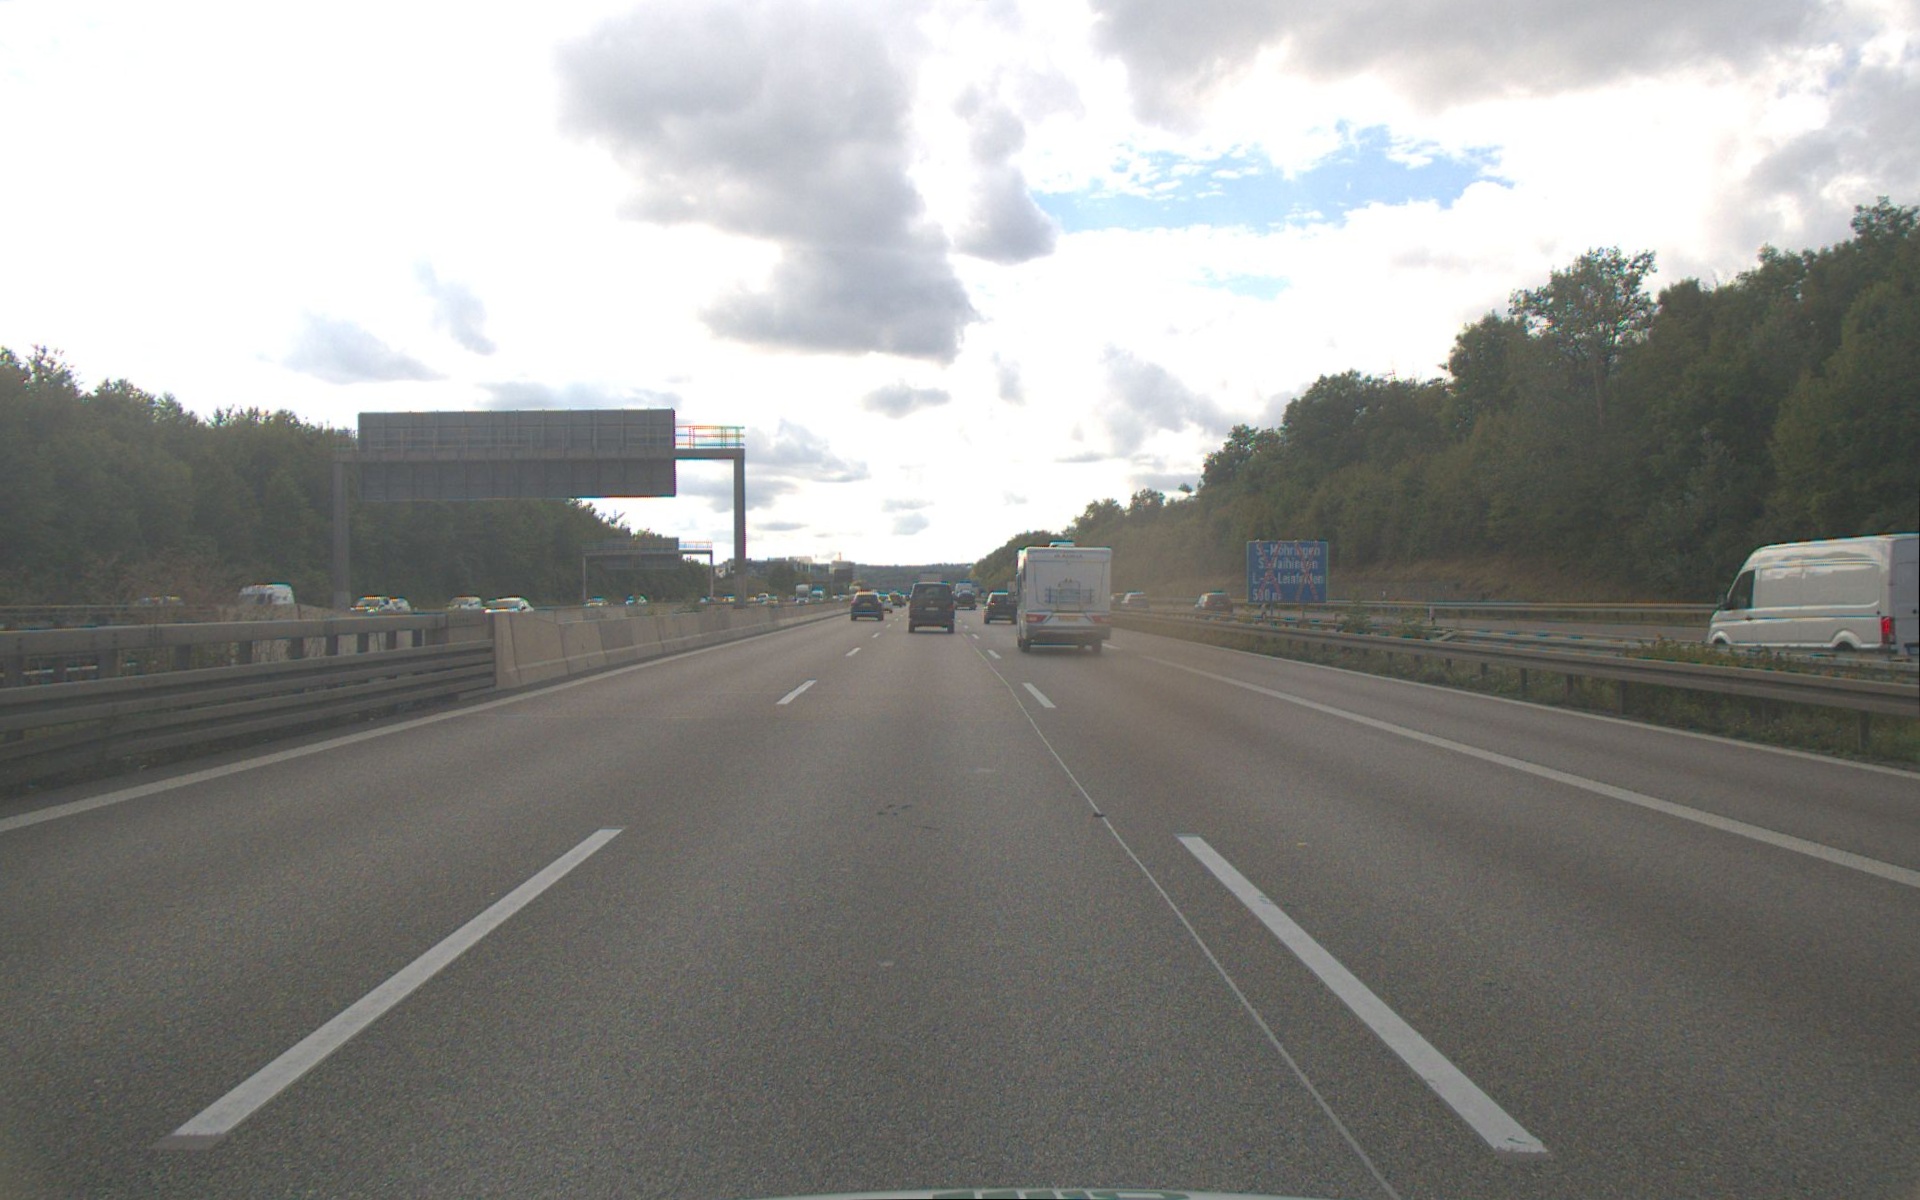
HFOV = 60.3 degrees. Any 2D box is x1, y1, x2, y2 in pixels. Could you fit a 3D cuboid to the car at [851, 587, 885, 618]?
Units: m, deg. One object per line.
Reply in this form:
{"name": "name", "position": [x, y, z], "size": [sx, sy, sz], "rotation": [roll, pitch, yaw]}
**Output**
{"name": "car", "position": [-5.238, 0.133, 94.536], "size": [1.835, 1.728, 4.071], "rotation": [0, 0, -2]}

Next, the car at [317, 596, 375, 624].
{"name": "car", "position": [-35.155, 0.553, 94.822], "size": [1.642, 1.544, 4.368], "rotation": [-1, 0, 0]}

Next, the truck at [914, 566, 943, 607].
{"name": "truck", "position": [-3.646, -1.501, 189.033], "size": [3.197, 4.451, 11.023], "rotation": [1, 0, -1]}

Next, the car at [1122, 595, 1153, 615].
{"name": "car", "position": [14.387, 0.419, 134.327], "size": [1.806, 1.510, 4.523], "rotation": [-2, 0, -3]}

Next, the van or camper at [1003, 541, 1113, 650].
{"name": "van or camper", "position": [2.608, -0.131, 46.214], "size": [2.419, 2.769, 7.659], "rotation": [1, 0, -1]}

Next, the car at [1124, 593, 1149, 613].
{"name": "car", "position": [14.287, 0.233, 134.013], "size": [1.509, 1.510, 3.941], "rotation": [-2, 0, -1]}

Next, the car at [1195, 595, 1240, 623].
{"name": "car", "position": [15.182, 0.511, 97.609], "size": [1.806, 1.510, 4.524], "rotation": [-2, 0, -1]}

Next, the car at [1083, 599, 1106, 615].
{"name": "car", "position": [13.708, 0.681, 168.798], "size": [1.806, 1.510, 4.523], "rotation": [-2, 0, -3]}

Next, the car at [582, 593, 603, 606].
{"name": "car", "position": [-39.915, -0.076, 179.781], "size": [1.472, 1.452, 4.107], "rotation": [-1, 0, -2]}

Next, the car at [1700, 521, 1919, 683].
{"name": "car", "position": [16.011, -0.009, 29.971], "size": [2.028, 2.599, 6.741], "rotation": [-1, 1, -1]}

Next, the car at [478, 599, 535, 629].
{"name": "car", "position": [-21.412, 0.634, 78.249], "size": [1.609, 1.338, 4.246], "rotation": [-1, 0, -2]}

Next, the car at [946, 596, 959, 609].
{"name": "car", "position": [-1.002, 0.298, 218.744], "size": [1.716, 1.725, 4.189], "rotation": [0, 0, -2]}

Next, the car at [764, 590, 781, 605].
{"name": "car", "position": [-23.890, -0.327, 210.794], "size": [1.797, 1.817, 5.501], "rotation": [-1, 0, -2]}

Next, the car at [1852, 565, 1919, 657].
{"name": "car", "position": [19.438, 0.211, 31.925], "size": [1.806, 1.782, 4.763], "rotation": [0, 0, -1]}

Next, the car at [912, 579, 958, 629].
{"name": "car", "position": [-1.031, 0.158, 67.043], "size": [1.817, 1.944, 4.258], "rotation": [0, 0, -2]}

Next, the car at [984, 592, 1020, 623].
{"name": "car", "position": [2.236, 0.387, 88.515], "size": [1.663, 1.592, 4.112], "rotation": [0, 0, -2]}

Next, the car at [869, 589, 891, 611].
{"name": "car", "position": [-6.227, -0.020, 128.778], "size": [1.663, 1.639, 4.112], "rotation": [0, 0, -2]}

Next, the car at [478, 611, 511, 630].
{"name": "car", "position": [-39.022, 1.725, 138.804], "size": [1.624, 1.469, 4.322], "rotation": [-1, 0, -2]}

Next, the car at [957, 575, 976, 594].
{"name": "car", "position": [0.659, -1.568, 168.147], "size": [1.874, 1.952, 4.029], "rotation": [0, 0, -2]}
